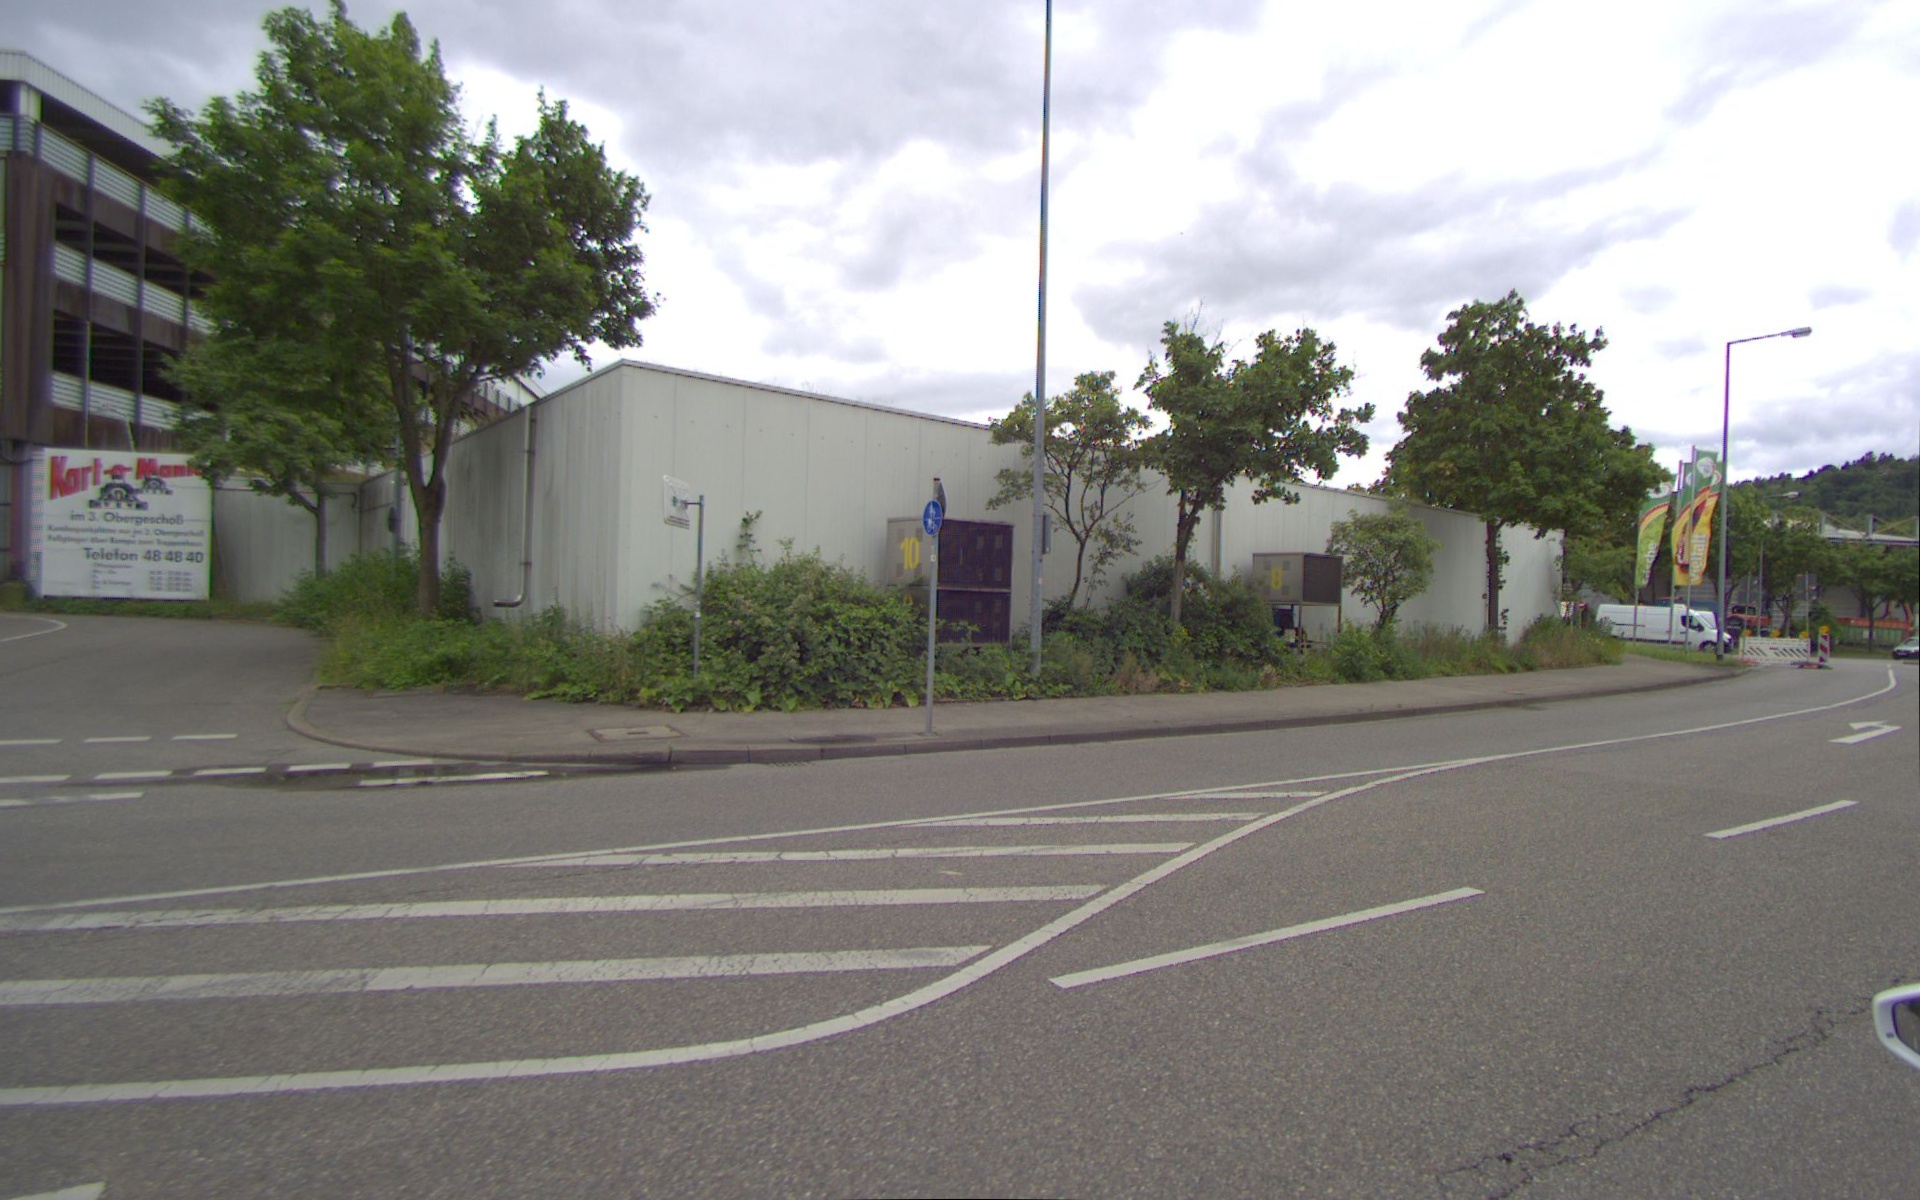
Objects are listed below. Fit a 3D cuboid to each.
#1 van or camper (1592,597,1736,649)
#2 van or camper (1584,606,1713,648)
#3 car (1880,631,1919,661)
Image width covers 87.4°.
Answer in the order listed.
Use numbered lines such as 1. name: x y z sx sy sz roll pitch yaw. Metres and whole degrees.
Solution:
1. van or camper: 37.903 1.223 54.192 2.380 2.276 5.926 3 2 -44
2. van or camper: 44.074 1.704 64.522 6.533 2.357 2.012 3 0 29
3. car: 69.218 3.368 72.762 4.066 2.040 1.992 2 1 -18
